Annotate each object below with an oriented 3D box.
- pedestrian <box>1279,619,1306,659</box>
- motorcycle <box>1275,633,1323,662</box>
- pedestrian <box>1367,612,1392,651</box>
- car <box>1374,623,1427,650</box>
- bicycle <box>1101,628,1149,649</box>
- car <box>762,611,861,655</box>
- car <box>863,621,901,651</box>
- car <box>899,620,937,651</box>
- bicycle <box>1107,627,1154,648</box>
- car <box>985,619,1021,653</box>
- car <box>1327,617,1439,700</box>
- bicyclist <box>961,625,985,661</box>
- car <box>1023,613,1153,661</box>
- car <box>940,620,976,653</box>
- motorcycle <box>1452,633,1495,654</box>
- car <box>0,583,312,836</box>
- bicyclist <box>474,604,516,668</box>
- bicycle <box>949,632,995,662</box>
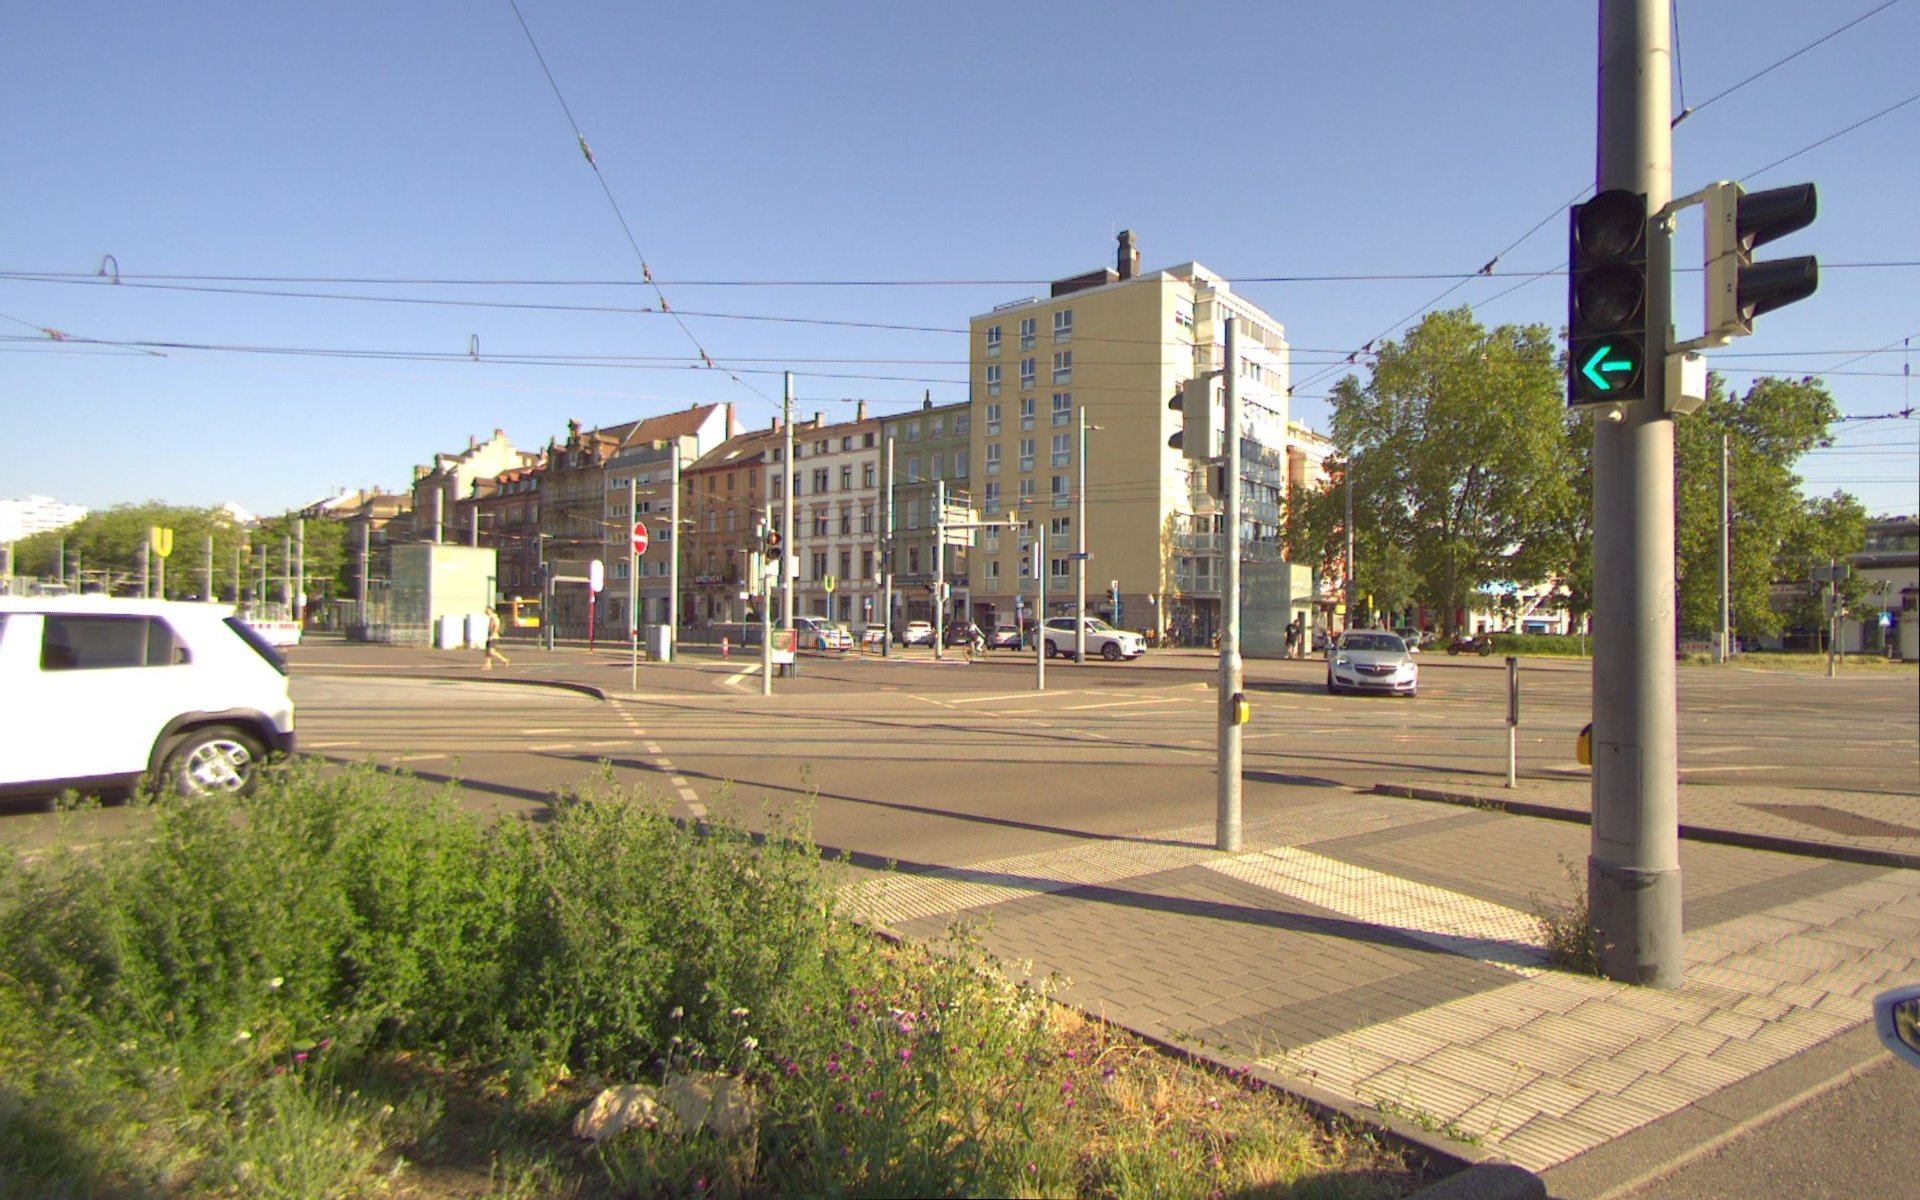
[{"bbox_3d":[14.636,1.707,44.225,0.748,1.728,0.792,2,0,-24],"label":"pedestrian"},{"bbox_3d":[22.277,3.107,65.988,2.645,1.793,1.349,2,0,44],"label":"motorcycle"},{"bbox_3d":[21.288,1.606,50.967,0.748,1.911,0.792,2,0,-24],"label":"pedestrian"},{"bbox_3d":[27.694,2.284,63.127,1.752,1.588,3.976,2,0,44],"label":"car"},{"bbox_3d":[10.182,2.351,61.996,3.001,1.167,0.637,2,0,42],"label":"bicycle"},{"bbox_3d":[-7.294,1.583,49.140,4.835,1.849,1.991,2,0,39],"label":"car"},{"bbox_3d":[-4.982,2.317,64.651,1.960,1.728,4.001,2,0,2],"label":"car"},{"bbox_3d":[-2.557,2.158,62.273,1.960,1.728,4.001,2,0,2],"label":"car"},{"bbox_3d":[10.601,2.338,62.514,3.001,1.167,0.637,2,0,42],"label":"bicycle"},{"bbox_3d":[2.473,2.030,57.818,1.960,1.728,4.001,2,0,2],"label":"car"},{"bbox_3d":[10.090,1.304,23.729,1.755,1.684,4.710,2,0,31],"label":"car"},{"bbox_3d":[0.496,1.678,39.088,0.617,1.368,0.659,2,0,43],"label":"bicyclist"},{"bbox_3d":[5.097,1.467,40.282,4.834,1.848,1.992,-1,-3,38],"label":"car"},{"bbox_3d":[-0.069,2.140,60.008,1.960,1.728,4.001,2,0,2],"label":"car"},{"bbox_3d":[25.206,2.134,49.353,1.752,0.926,0.676,2,0,39],"label":"motorcycle"},{"bbox_3d":[-7.181,0.725,7.320,3.965,1.684,1.766,2,0,-38],"label":"car"},{"bbox_3d":[-12.897,0.982,27.894,0.653,1.706,0.980,2,0,0],"label":"bicyclist"},{"bbox_3d":[0.479,1.827,39.095,0.616,1.104,1.915,2,0,42],"label":"bicycle"}]
